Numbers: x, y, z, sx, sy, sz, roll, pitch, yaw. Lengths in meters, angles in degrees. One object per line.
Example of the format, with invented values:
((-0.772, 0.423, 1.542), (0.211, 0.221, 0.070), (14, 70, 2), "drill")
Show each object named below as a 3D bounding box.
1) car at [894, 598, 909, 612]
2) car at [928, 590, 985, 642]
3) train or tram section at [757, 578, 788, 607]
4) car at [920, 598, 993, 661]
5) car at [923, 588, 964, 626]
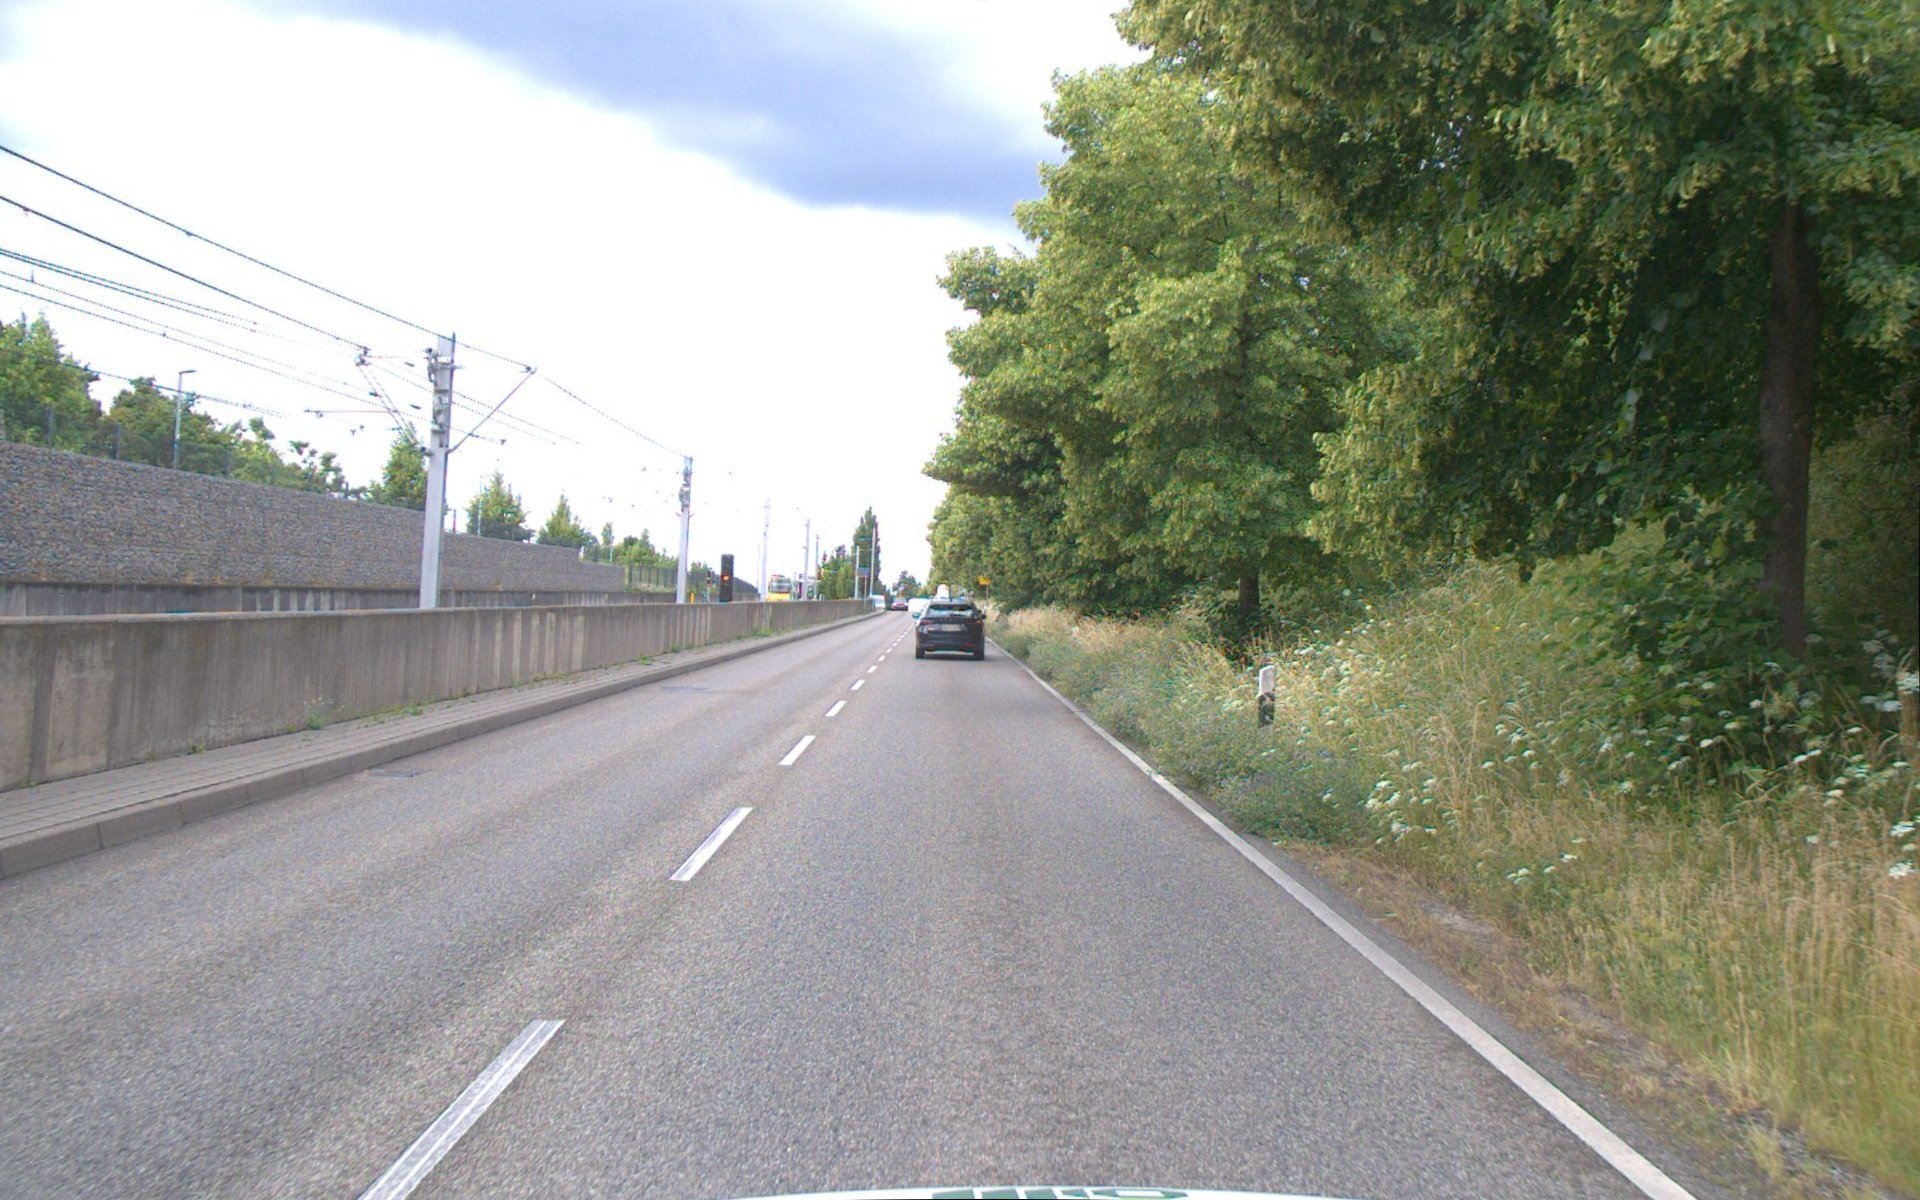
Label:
((-6.367, 0.532, 180.119), (1.629, 1.572, 3.951), (1, 0, -1), "car")
((-0.147, 0.552, 59.173), (1.953, 1.783, 3.999), (1, 0, -1), "car")
((-22.486, -0.805, 197.511), (2.759, 3.172, 18.874), (1, -1, -9), "train or tram section")
((-0.102, 0.707, 41.707), (1.745, 1.493, 3.999), (1, 0, -1), "car")
((-0.815, 0.357, 81.055), (1.953, 1.771, 3.999), (1, -1, -1), "car")
